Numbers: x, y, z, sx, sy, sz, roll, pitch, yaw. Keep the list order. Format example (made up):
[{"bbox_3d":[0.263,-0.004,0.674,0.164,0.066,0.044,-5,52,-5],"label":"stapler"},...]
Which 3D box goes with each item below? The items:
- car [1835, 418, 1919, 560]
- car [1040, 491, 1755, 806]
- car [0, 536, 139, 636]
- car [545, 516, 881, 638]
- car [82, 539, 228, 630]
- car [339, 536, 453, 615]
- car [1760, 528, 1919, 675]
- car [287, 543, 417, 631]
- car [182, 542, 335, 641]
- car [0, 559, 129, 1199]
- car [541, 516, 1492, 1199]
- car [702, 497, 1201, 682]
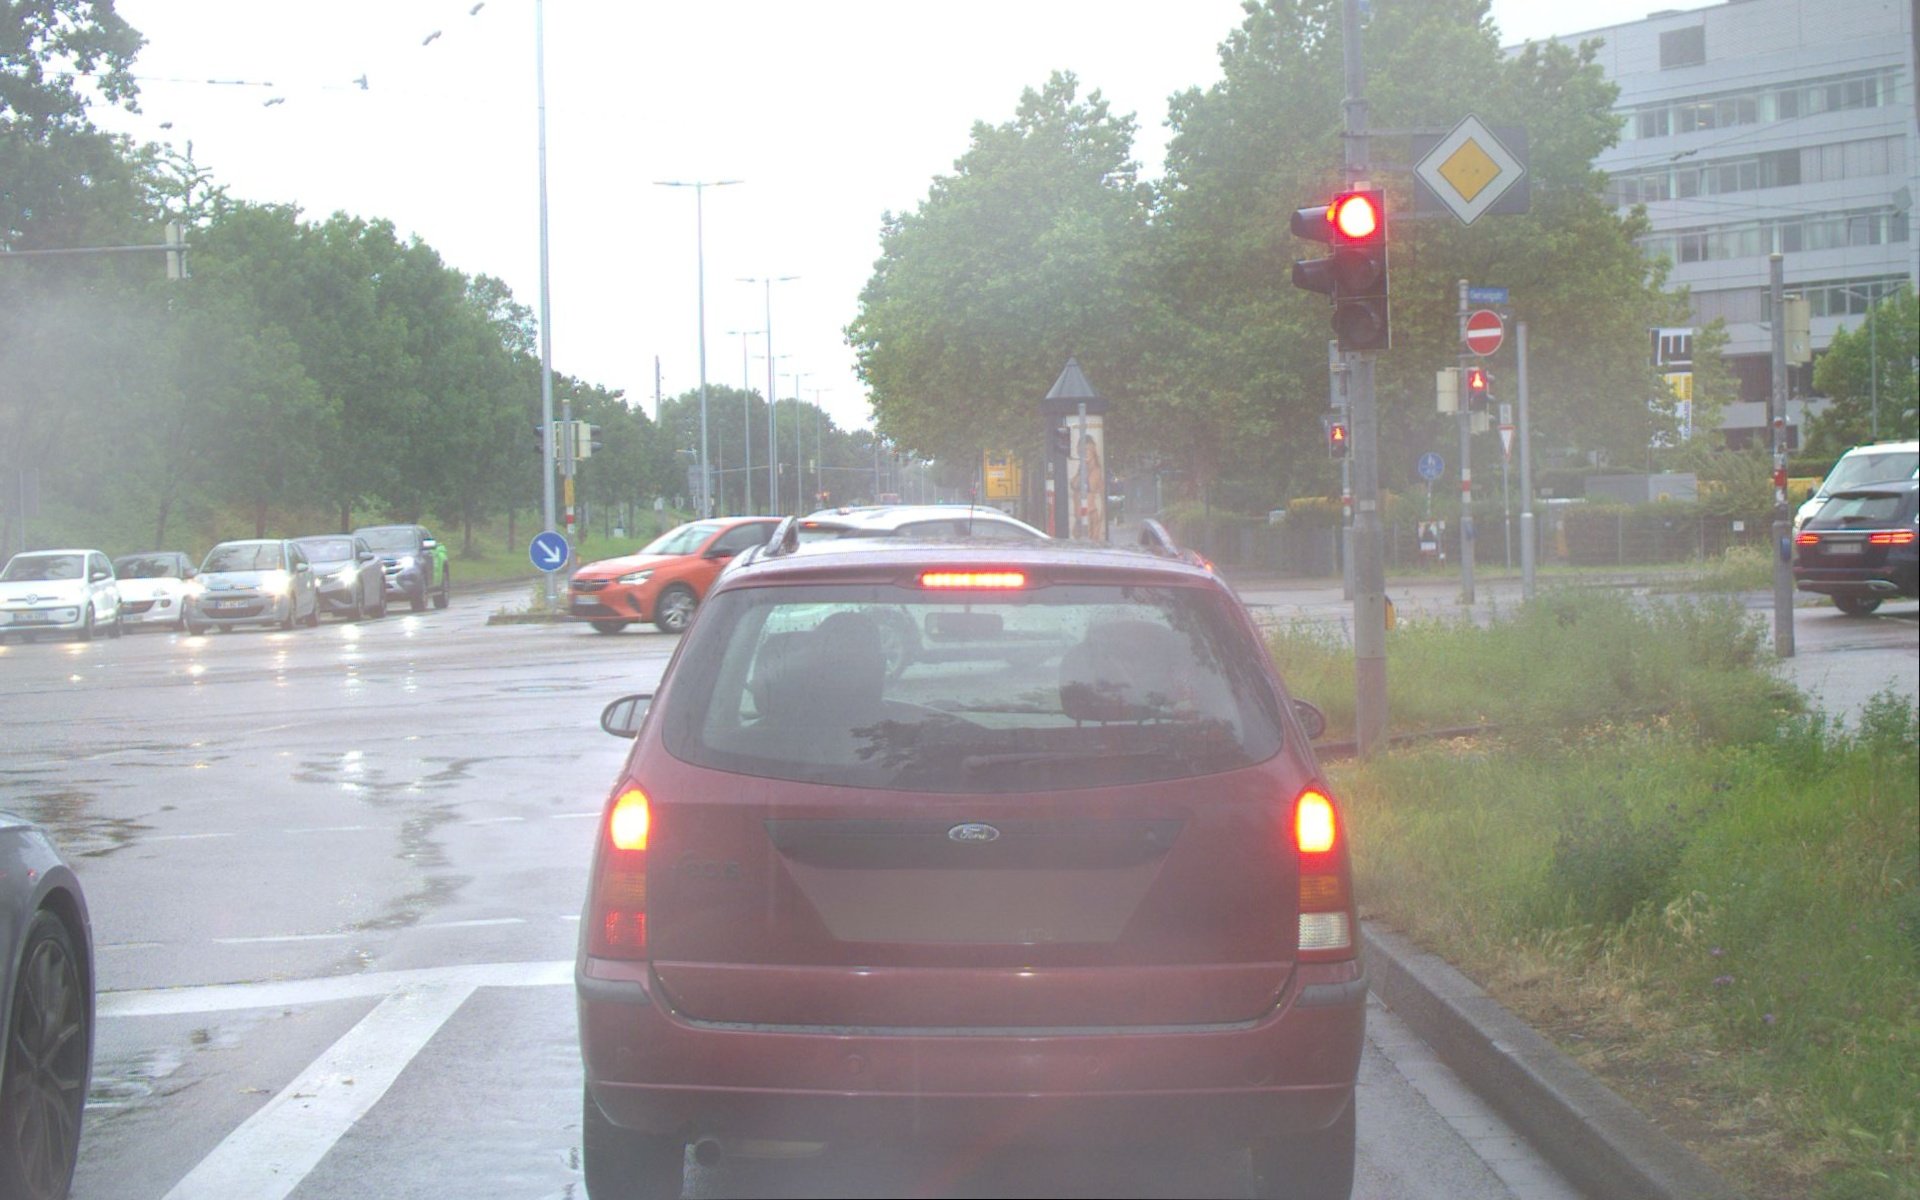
[{"bbox_3d":[16.251,-1.875,55.147,4.374,2.183,1.802,-5,3,-35],"label":"car"},{"bbox_3d":[2.746,0.207,20.957,4.375,1.531,1.801,-5,4,-40],"label":"car"},{"bbox_3d":[-14.591,-0.248,55.545,1.712,1.525,4.000,-1,1,-1],"label":"car"},{"bbox_3d":[-3.145,-0.317,44.153,3.988,1.424,1.717,-2,2,-38],"label":"car"},{"bbox_3d":[-14.496,-0.307,62.085,1.712,1.525,4.000,-1,1,-1],"label":"car"},{"bbox_3d":[-11.642,-0.528,71.144,1.712,1.525,4.000,-1,1,-1],"label":"car"},{"bbox_3d":[11.155,-0.040,38.070,4.372,1.532,1.802,-2,1,-29],"label":"car"},{"bbox_3d":[-11.227,-0.266,63.671,1.712,1.525,4.000,-1,1,-1],"label":"car"},{"bbox_3d":[-11.533,-0.166,56.767,1.712,1.525,4.000,-1,1,-1],"label":"car"},{"bbox_3d":[-2.688,0.669,5.409,1.690,1.428,4.574,0,1,-1],"label":"car"},{"bbox_3d":[0.082,0.574,8.731,1.796,1.532,4.387,1,1,-1],"label":"car"},{"bbox_3d":[-0.060,-0.123,31.133,4.050,1.515,2.000,-2,1,-32],"label":"car"}]
